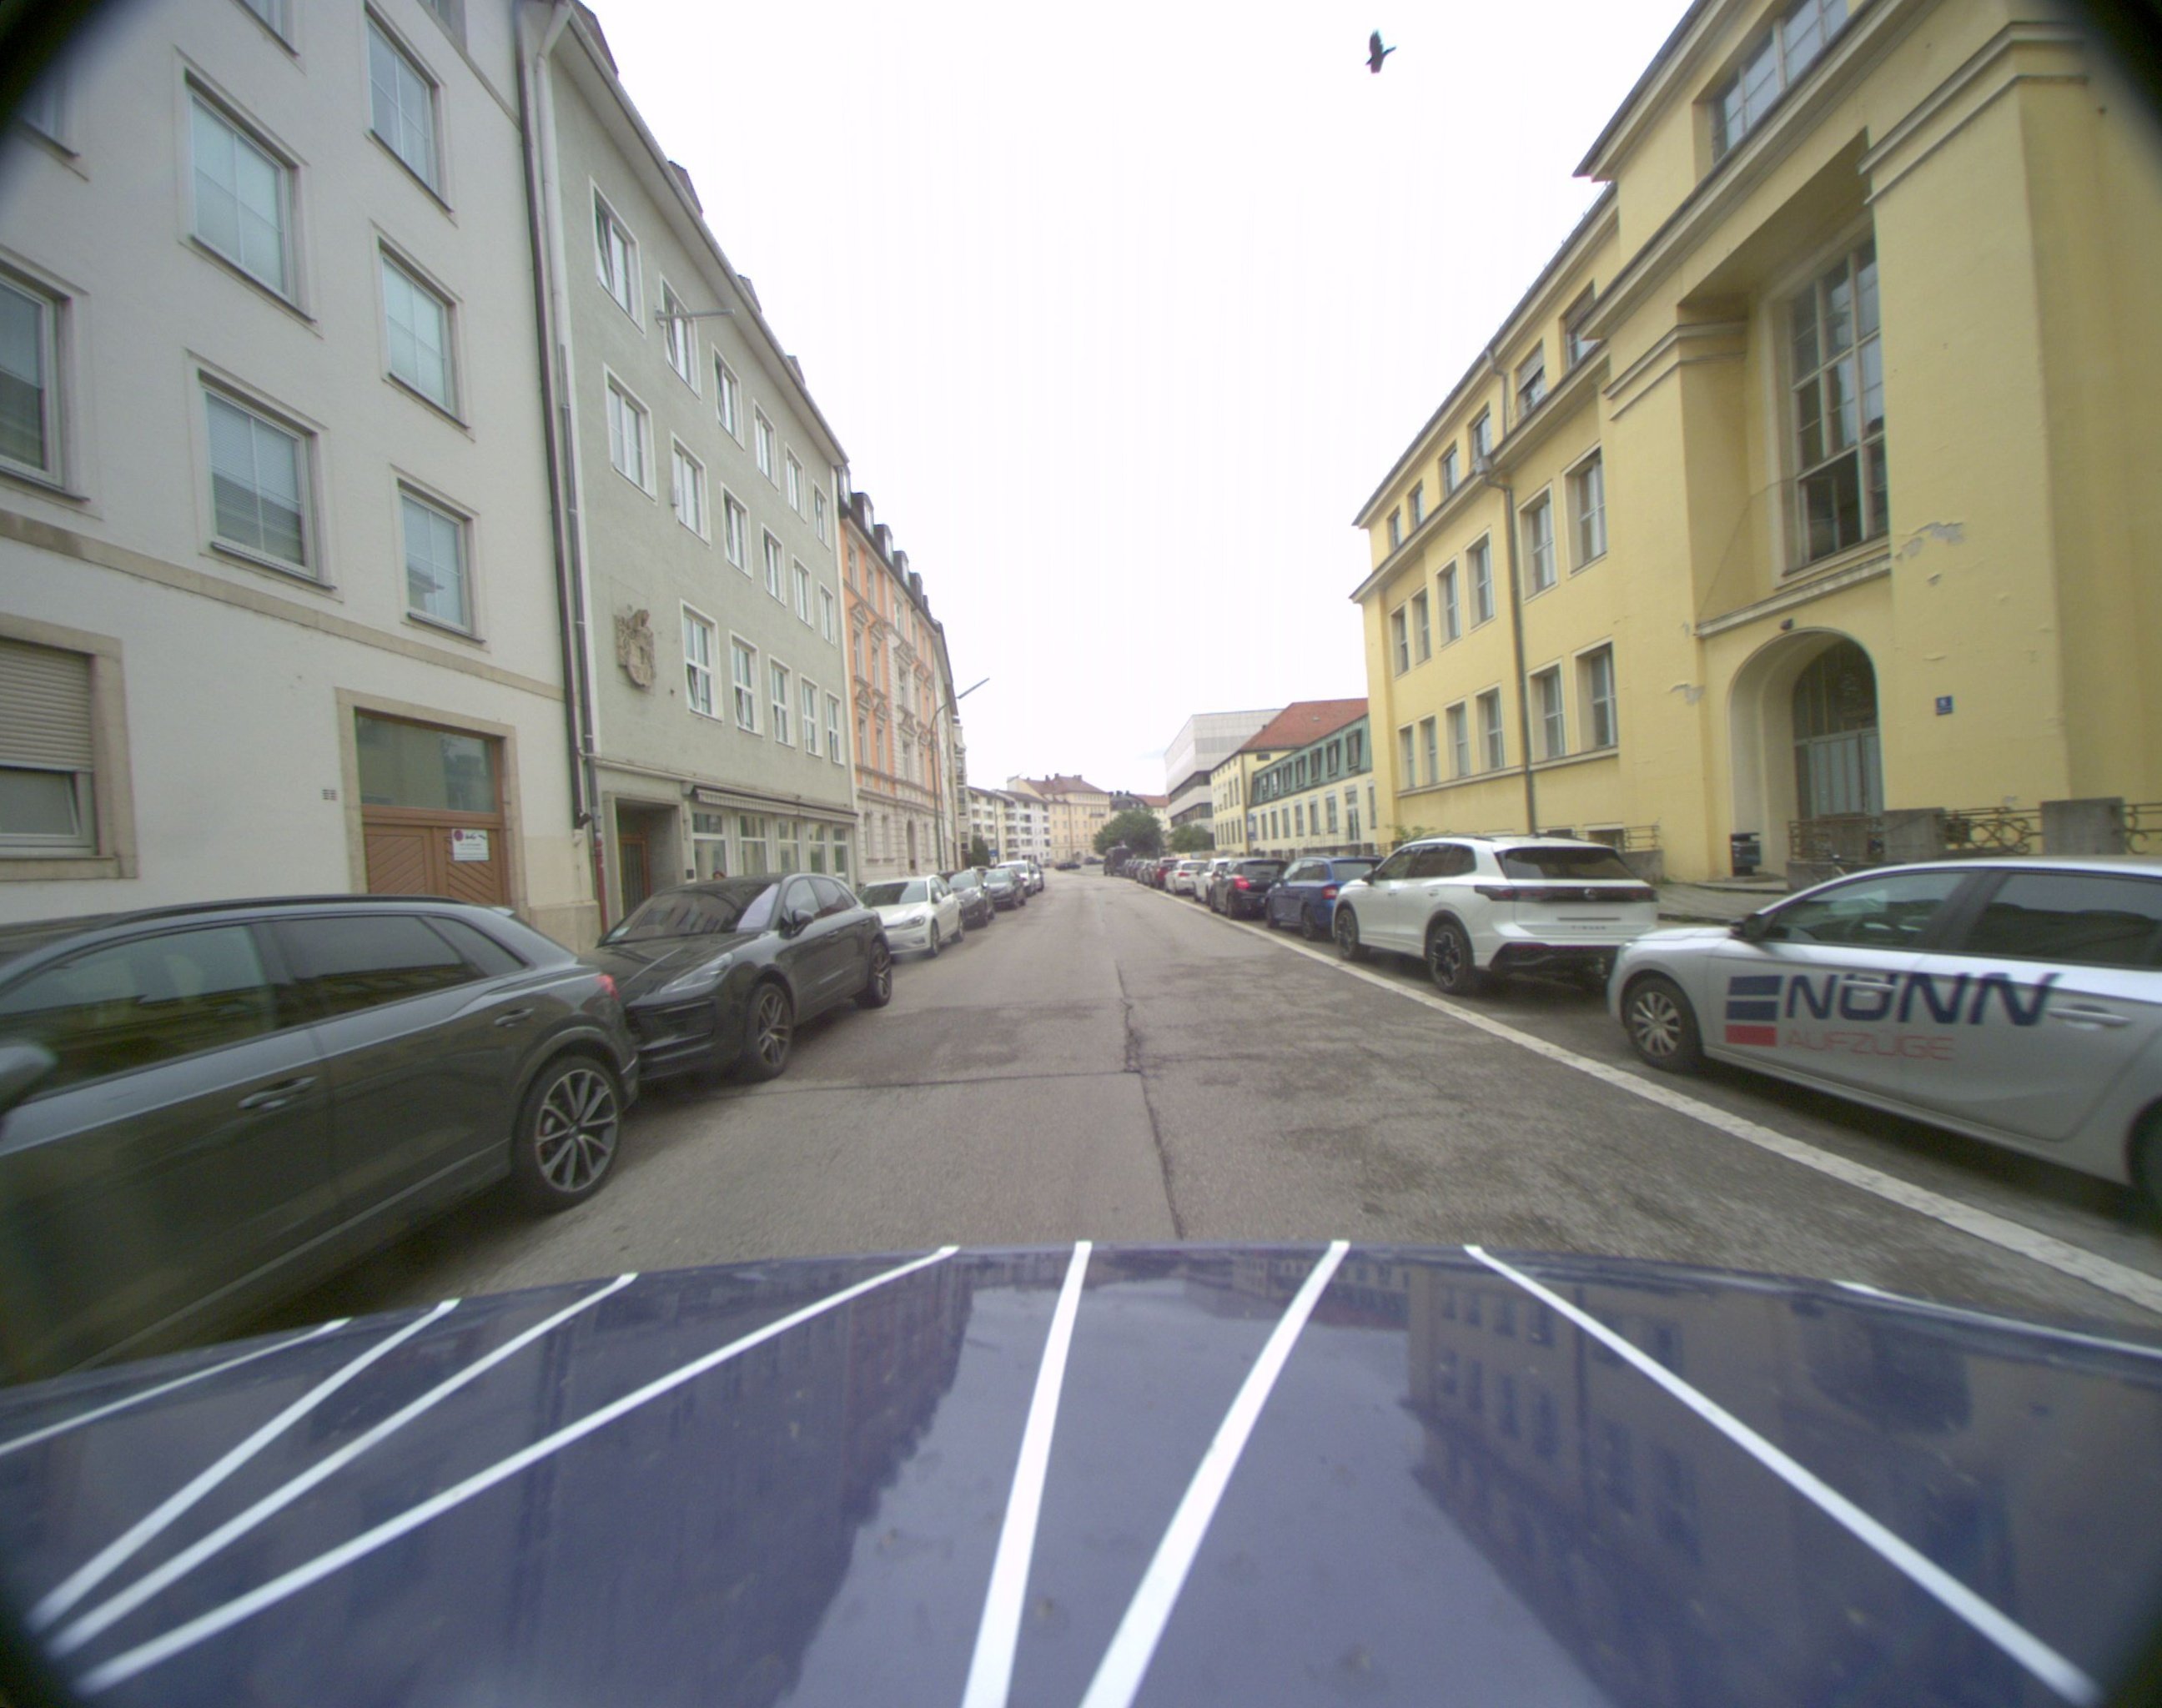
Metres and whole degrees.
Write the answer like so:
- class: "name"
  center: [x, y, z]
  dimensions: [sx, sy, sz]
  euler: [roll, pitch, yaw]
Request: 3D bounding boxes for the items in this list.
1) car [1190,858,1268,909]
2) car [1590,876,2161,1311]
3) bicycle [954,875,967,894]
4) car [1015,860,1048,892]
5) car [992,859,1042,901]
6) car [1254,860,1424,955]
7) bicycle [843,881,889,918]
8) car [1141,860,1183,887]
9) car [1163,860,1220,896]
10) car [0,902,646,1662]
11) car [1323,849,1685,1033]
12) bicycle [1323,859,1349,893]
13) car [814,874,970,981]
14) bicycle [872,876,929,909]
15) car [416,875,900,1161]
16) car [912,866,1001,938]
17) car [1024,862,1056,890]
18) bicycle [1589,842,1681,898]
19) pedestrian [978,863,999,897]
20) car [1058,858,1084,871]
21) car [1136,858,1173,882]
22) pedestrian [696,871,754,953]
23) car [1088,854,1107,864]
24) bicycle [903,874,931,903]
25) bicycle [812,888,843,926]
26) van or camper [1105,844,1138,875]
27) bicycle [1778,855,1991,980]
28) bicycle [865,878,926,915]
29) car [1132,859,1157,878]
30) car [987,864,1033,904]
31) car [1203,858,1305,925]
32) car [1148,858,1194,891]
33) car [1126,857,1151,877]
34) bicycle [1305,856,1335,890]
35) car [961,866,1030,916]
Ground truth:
- class: "car"
  center: [4.661, 0.887, 24.522]
  dimensions: [1.727, 1.518, 4.087]
  euler: [0, 0, 0]
- class: "car"
  center: [4.559, 0.876, 3.571]
  dimensions: [1.684, 1.417, 3.894]
  euler: [1, 0, 0]
- class: "bicycle"
  center: [-7.469, 1.873, 47.120]
  dimensions: [0.669, 1.115, 1.651]
  euler: [-4, 0, -6]
- class: "car"
  center: [-2.775, 1.214, 43.210]
  dimensions: [1.608, 1.632, 3.631]
  euler: [-4, 0, -1]
- class: "car"
  center: [-3.135, 1.231, 37.971]
  dimensions: [1.845, 1.775, 4.895]
  euler: [-6, 0, 1]
- class: "car"
  center: [4.560, 0.866, 14.077]
  dimensions: [1.684, 1.496, 3.973]
  euler: [-1, 0, -2]
- class: "bicycle"
  center: [-7.209, 1.513, 25.632]
  dimensions: [0.771, 1.068, 2.458]
  euler: [-3, 0, 1]
- class: "car"
  center: [4.454, 1.050, 42.299]
  dimensions: [1.679, 1.396, 3.989]
  euler: [0, 0, -4]
- class: "car"
  center: [4.572, 0.974, 31.913]
  dimensions: [1.679, 1.389, 3.996]
  euler: [0, 0, -2]
- class: "car"
  center: [-3.391, 1.121, 2.038]
  dimensions: [1.783, 1.575, 4.272]
  euler: [-5, 0, 1]
- class: "car"
  center: [4.461, 0.777, 8.927]
  dimensions: [1.684, 1.624, 4.356]
  euler: [0, 0, -2]
- class: "bicycle"
  center: [8.891, 0.746, 26.534]
  dimensions: [0.587, 1.071, 1.718]
  euler: [-5, 0, 13]
- class: "car"
  center: [-3.346, 1.248, 14.305]
  dimensions: [1.696, 1.455, 4.083]
  euler: [-6, 0, 1]
- class: "bicycle"
  center: [-6.865, 1.456, 28.932]
  dimensions: [0.608, 1.176, 2.100]
  euler: [-3, -2, 44]
- class: "car"
  center: [-3.219, 1.116, 7.007]
  dimensions: [1.783, 1.575, 4.330]
  euler: [-5, 0, 2]
- class: "car"
  center: [-3.261, 1.201, 20.584]
  dimensions: [1.697, 1.574, 4.082]
  euler: [-6, 0, -2]
- class: "car"
  center: [-2.594, 1.354, 48.689]
  dimensions: [1.745, 1.578, 4.201]
  euler: [-5, 0, -1]
- class: "bicycle"
  center: [11.780, 0.342, 16.166]
  dimensions: [1.561, 1.045, 0.439]
  euler: [-5, 1, -1]
- class: "pedestrian"
  center: [-4.622, 1.315, 38.098]
  dimensions: [0.863, 1.652, 0.647]
  euler: [-3, 0, 0]
- class: "car"
  center: [-1.764, 1.771, 129.042]
  dimensions: [4.248, 1.849, 1.999]
  euler: [-3, 0, -5]
- class: "car"
  center: [4.563, 0.965, 47.518]
  dimensions: [1.798, 1.396, 4.127]
  euler: [0, 0, -2]
- class: "pedestrian"
  center: [-7.352, 1.180, 15.727]
  dimensions: [0.736, 1.616, 0.828]
  euler: [-2, 0, 1]
- class: "car"
  center: [3.516, 1.068, 165.364]
  dimensions: [3.997, 1.849, 2.000]
  euler: [-3, 0, 1]
- class: "bicycle"
  center: [-7.071, 1.472, 32.804]
  dimensions: [0.652, 1.176, 2.096]
  euler: [-2, -2, 3]
- class: "bicycle"
  center: [-7.567, 1.569, 22.723]
  dimensions: [0.331, 0.998, 1.522]
  euler: [-2, 0, 1]
- class: "van or camper"
  center: [3.836, 0.571, 73.603]
  dimensions: [2.142, 2.791, 5.569]
  euler: [-2, 0, -7]
- class: "bicycle"
  center: [8.628, 0.629, 8.264]
  dimensions: [0.578, 1.182, 1.562]
  euler: [-6, 0, 1]
- class: "bicycle"
  center: [-6.810, 1.546, 28.008]
  dimensions: [2.099, 1.176, 0.608]
  euler: [-3, 0, -45]
- class: "car"
  center: [4.815, 1.073, 57.807]
  dimensions: [1.699, 1.396, 4.001]
  euler: [0, 0, 2]
- class: "car"
  center: [-3.004, 1.255, 32.854]
  dimensions: [1.603, 1.442, 4.301]
  euler: [-6, 0, -3]
- class: "car"
  center: [4.243, 0.865, 19.200]
  dimensions: [1.684, 1.487, 3.985]
  euler: [0, 0, 0]
- class: "car"
  center: [4.388, 0.972, 37.431]
  dimensions: [1.679, 1.557, 3.996]
  euler: [0, 0, -2]
- class: "car"
  center: [4.733, 1.064, 62.722]
  dimensions: [1.700, 1.553, 3.867]
  euler: [0, 0, -2]
- class: "bicycle"
  center: [8.917, 0.704, 28.381]
  dimensions: [0.587, 1.190, 1.717]
  euler: [-5, 0, 4]
- class: "car"
  center: [-2.966, 1.247, 27.095]
  dimensions: [1.696, 1.442, 4.083]
  euler: [-6, 0, 2]
